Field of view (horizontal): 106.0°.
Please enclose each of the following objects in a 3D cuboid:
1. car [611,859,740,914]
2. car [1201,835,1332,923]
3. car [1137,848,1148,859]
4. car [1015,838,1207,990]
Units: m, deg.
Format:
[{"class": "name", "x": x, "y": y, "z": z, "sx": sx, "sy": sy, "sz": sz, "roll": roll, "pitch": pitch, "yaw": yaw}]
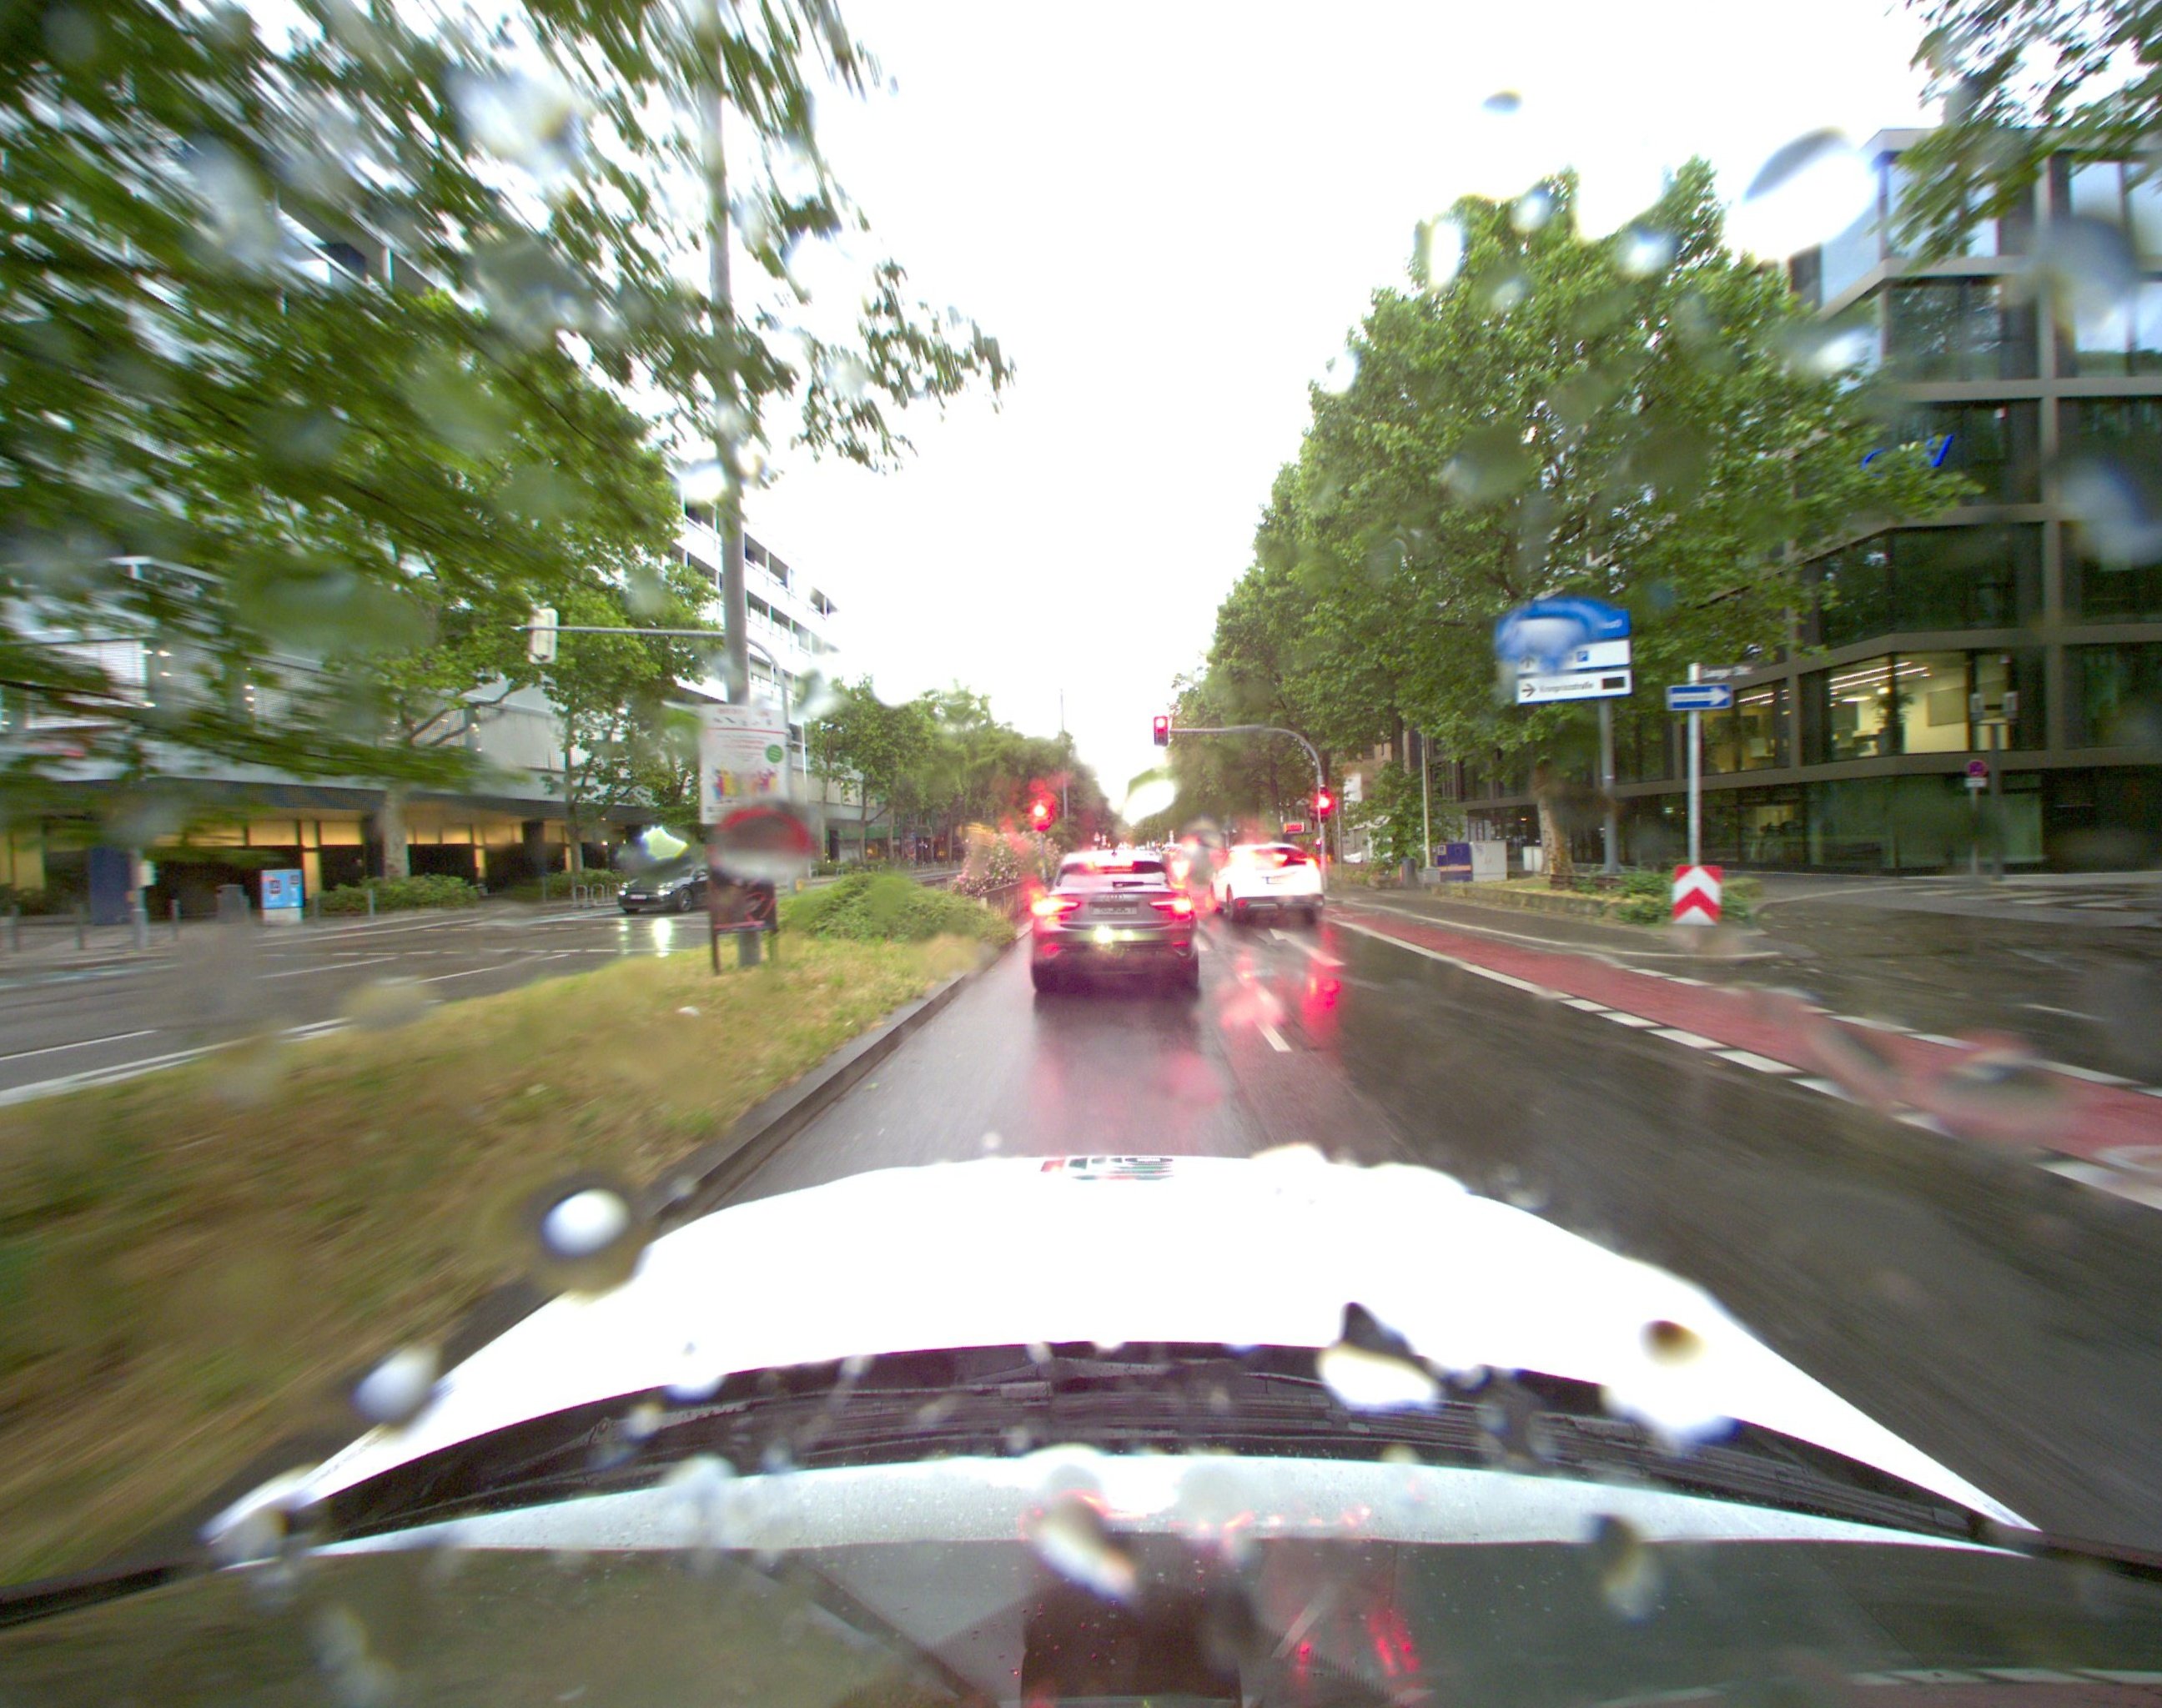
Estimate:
[{"class": "car", "x": -13.118, "y": 1.000, "z": 26.679, "sx": 1.821, "sy": 1.552, "sz": 4.195, "roll": -2, "pitch": 0, "yaw": 5}, {"class": "car", "x": 3.976, "y": 0.475, "z": 18.301, "sx": 1.985, "sy": 1.655, "sz": 4.892, "roll": -2, "pitch": 0, "yaw": 3}, {"class": "car", "x": 9.658, "y": -0.084, "z": 128.491, "sx": 1.614, "sy": 1.666, "sz": 4.003, "roll": -2, "pitch": 1, "yaw": 3}, {"class": "car", "x": 0.394, "y": 0.574, "z": 10.265, "sx": 1.911, "sy": 1.491, "sz": 4.003, "roll": -2, "pitch": 1, "yaw": 3}]
